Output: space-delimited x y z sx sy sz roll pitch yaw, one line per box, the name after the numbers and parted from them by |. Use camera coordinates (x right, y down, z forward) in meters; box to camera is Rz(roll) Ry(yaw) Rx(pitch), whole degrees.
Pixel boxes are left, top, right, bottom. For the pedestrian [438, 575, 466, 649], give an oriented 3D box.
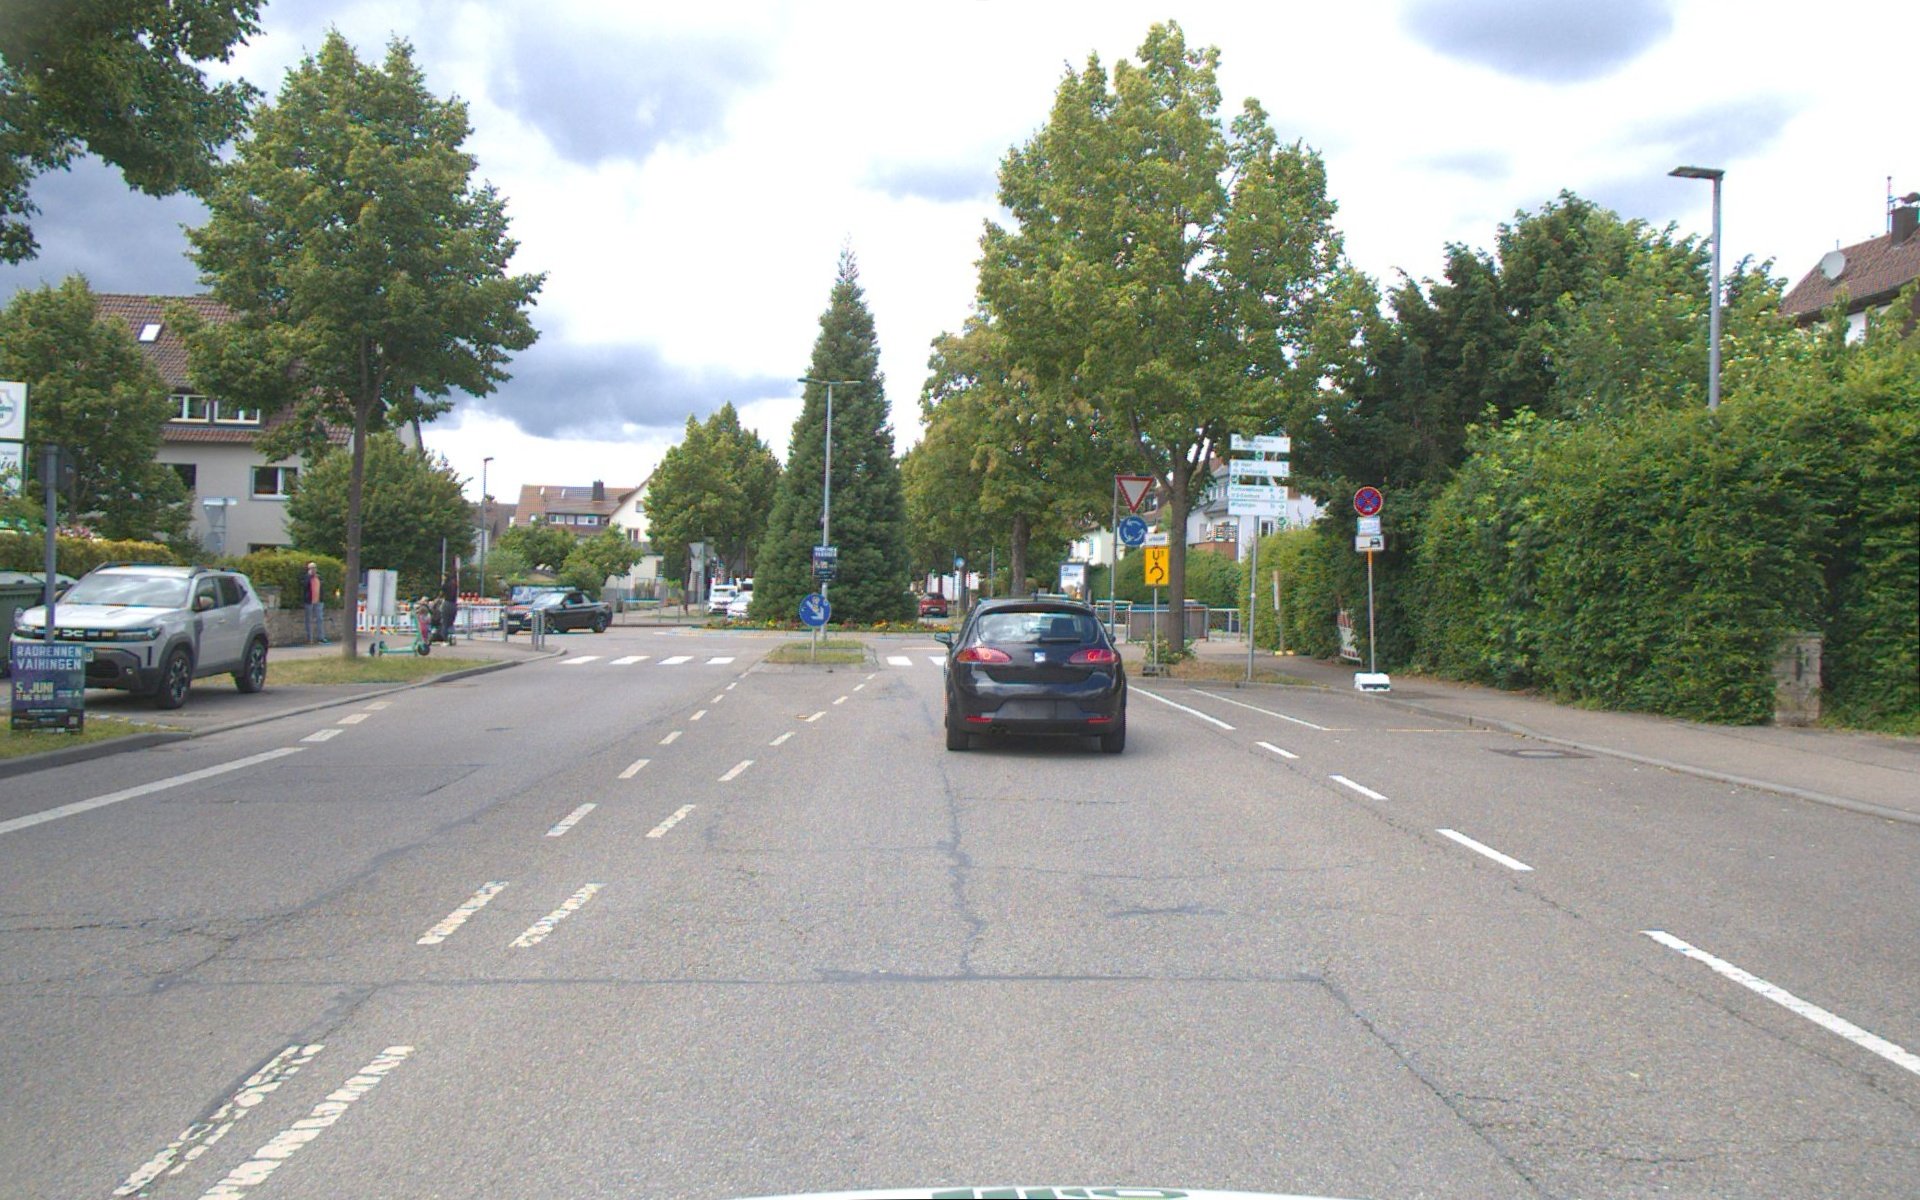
-11.850 0.273 38.598 0.477 1.699 0.509 1 0 -36 | pedestrian

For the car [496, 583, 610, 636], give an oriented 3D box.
-13.267 0.310 54.122 1.539 1.663 3.614 1 0 30 | car

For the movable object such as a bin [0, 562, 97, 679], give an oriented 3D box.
-13.851 0.298 24.836 1.182 1.680 0.997 3 0 -5 | movable object such as a bin

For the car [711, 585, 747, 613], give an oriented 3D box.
-13.696 -0.076 98.175 1.762 1.629 3.998 0 0 -3 | car

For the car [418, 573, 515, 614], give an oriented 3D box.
-20.464 -0.280 68.640 3.514 1.639 1.600 0 0 1 | car

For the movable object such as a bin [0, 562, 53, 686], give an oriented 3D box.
-13.606 0.306 23.166 1.182 1.680 0.997 3 0 -5 | movable object such as a bin

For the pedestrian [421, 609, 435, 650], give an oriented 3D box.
-11.961 0.656 37.187 0.236 0.910 0.257 1 0 -31 | pedestrian

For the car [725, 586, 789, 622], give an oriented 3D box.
-9.101 0.159 74.380 1.829 1.588 4.263 0 0 8 | car

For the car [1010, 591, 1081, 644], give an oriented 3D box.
2.785 0.536 54.520 1.953 1.641 3.998 1 0 -2 | car

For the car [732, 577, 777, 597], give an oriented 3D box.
-20.275 -1.290 163.153 3.903 2.005 2.038 0 0 17 | car

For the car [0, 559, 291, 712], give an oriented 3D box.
-10.076 0.384 20.687 1.823 1.682 4.291 1 0 -3 | car

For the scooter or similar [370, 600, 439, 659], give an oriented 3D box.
-11.113 0.592 33.120 1.272 1.158 0.343 0 0 -34 | scooter or similar

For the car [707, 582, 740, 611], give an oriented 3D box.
-16.585 -0.266 116.062 1.990 2.005 3.996 0 0 -5 | car

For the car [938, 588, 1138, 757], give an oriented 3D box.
0.679 0.647 16.874 1.697 1.512 3.998 0 0 -2 | car

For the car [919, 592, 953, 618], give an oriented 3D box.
-1.493 0.282 100.159 1.449 1.515 3.372 1 0 -12 | car

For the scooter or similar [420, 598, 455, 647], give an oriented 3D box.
-12.384 0.531 39.166 0.403 1.114 0.956 3 -1 -41 | scooter or similar

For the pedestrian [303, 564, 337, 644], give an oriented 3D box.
-14.693 0.093 37.960 0.558 1.815 0.532 1 0 -42 | pedestrian
